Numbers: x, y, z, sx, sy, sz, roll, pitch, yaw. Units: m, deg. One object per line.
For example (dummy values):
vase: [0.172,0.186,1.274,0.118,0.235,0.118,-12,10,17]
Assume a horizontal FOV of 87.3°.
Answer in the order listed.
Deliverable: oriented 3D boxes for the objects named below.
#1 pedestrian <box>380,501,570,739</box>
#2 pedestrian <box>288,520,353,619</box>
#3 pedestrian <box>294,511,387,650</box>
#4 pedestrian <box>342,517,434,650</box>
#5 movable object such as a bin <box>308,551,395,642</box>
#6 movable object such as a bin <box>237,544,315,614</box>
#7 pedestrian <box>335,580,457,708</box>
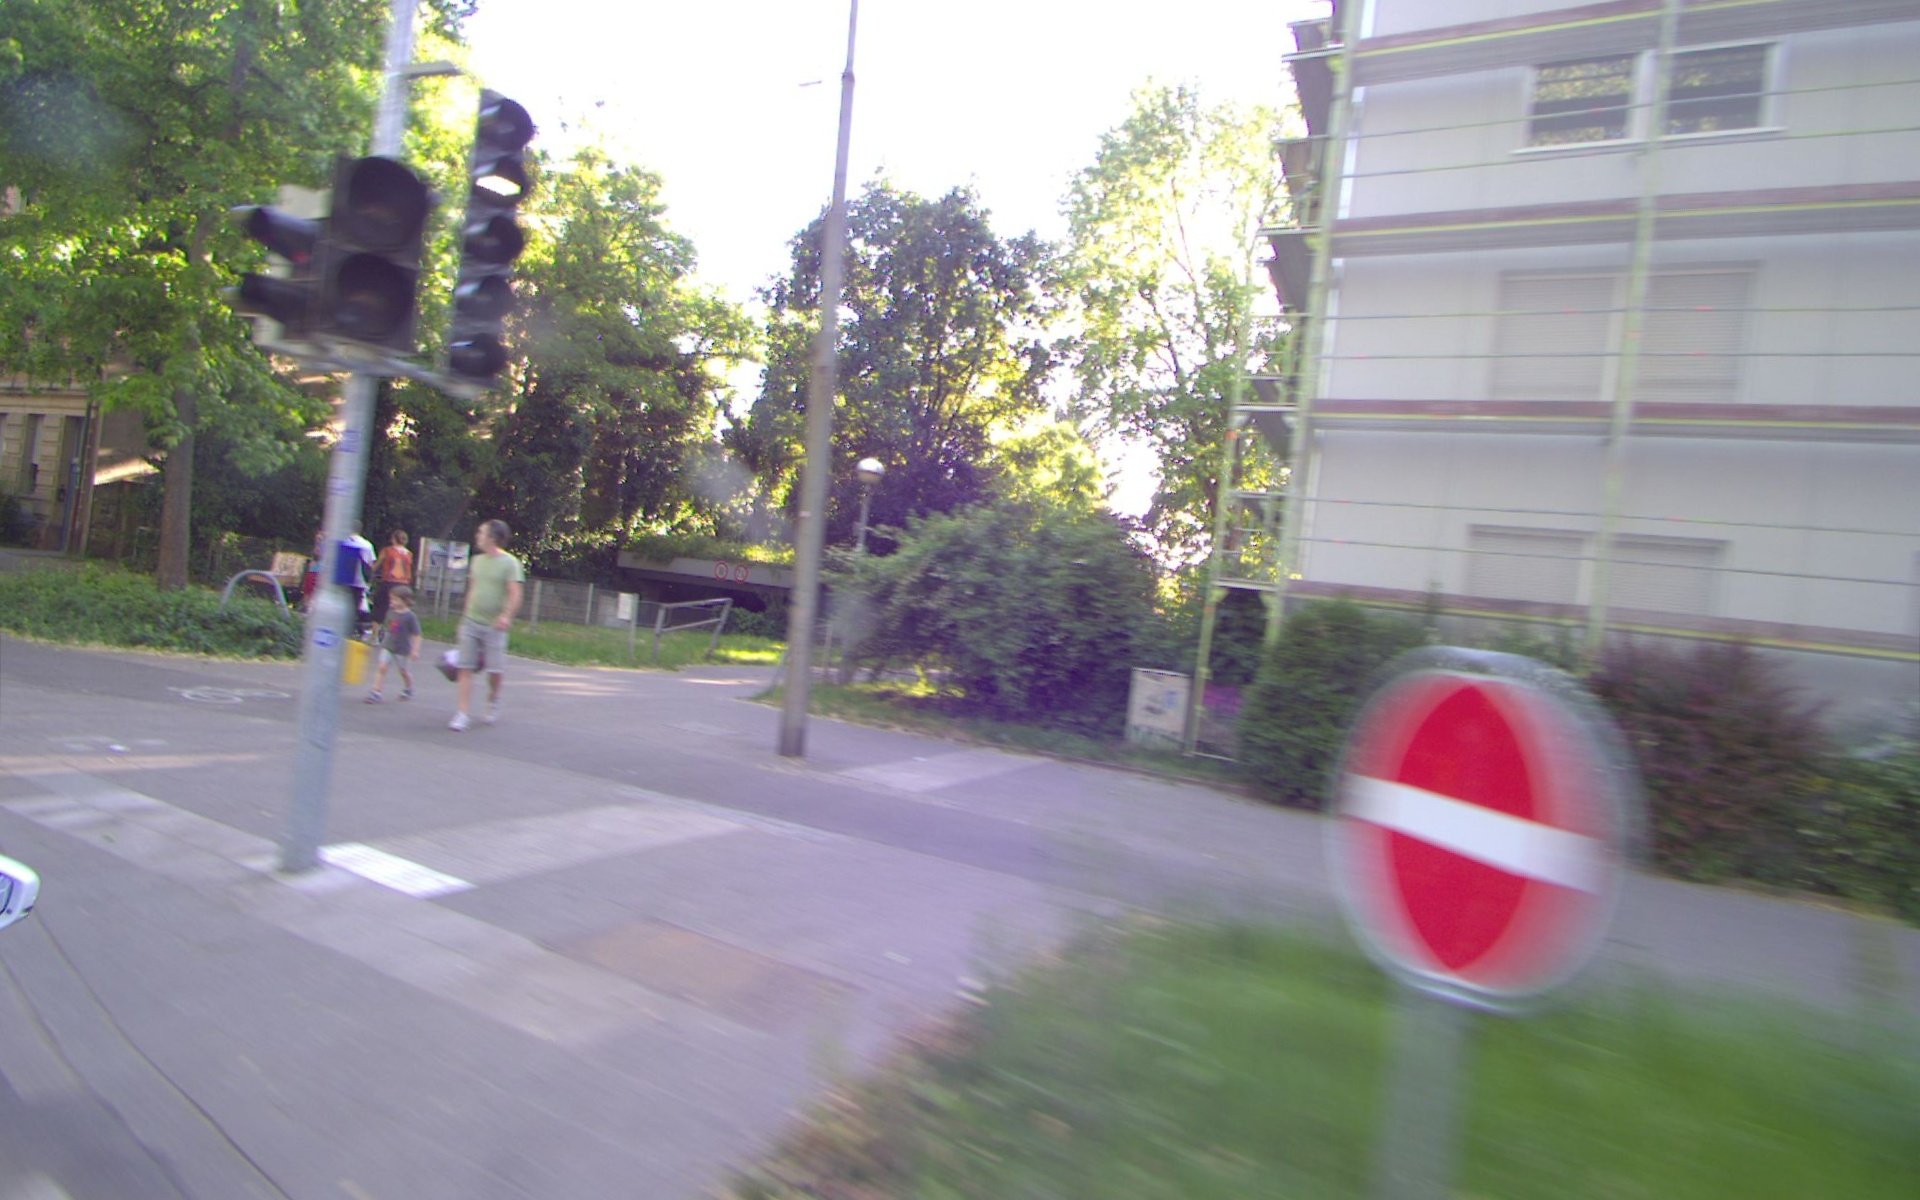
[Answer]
pedestrian: [-4.285,0.184,8.958,0.979,1.906,0.871,7,-1,9]
pedestrian: [-11.899,-0.556,18.731,0.543,1.745,0.620,7,-1,12]
pedestrian: [-8.633,-0.266,14.027,0.840,1.816,0.725,7,2,38]
pedestrian: [-8.396,-0.243,14.772,0.953,1.816,0.725,7,2,38]
movable object such as a bin: [-9.268,-0.060,15.315,1.285,1.218,0.638,7,1,38]
movable object such as a bin: [-12.795,-0.388,18.826,0.939,1.139,0.668,7,-1,20]
pedestrian: [-5.528,0.433,9.894,0.647,1.131,0.677,7,-1,5]
